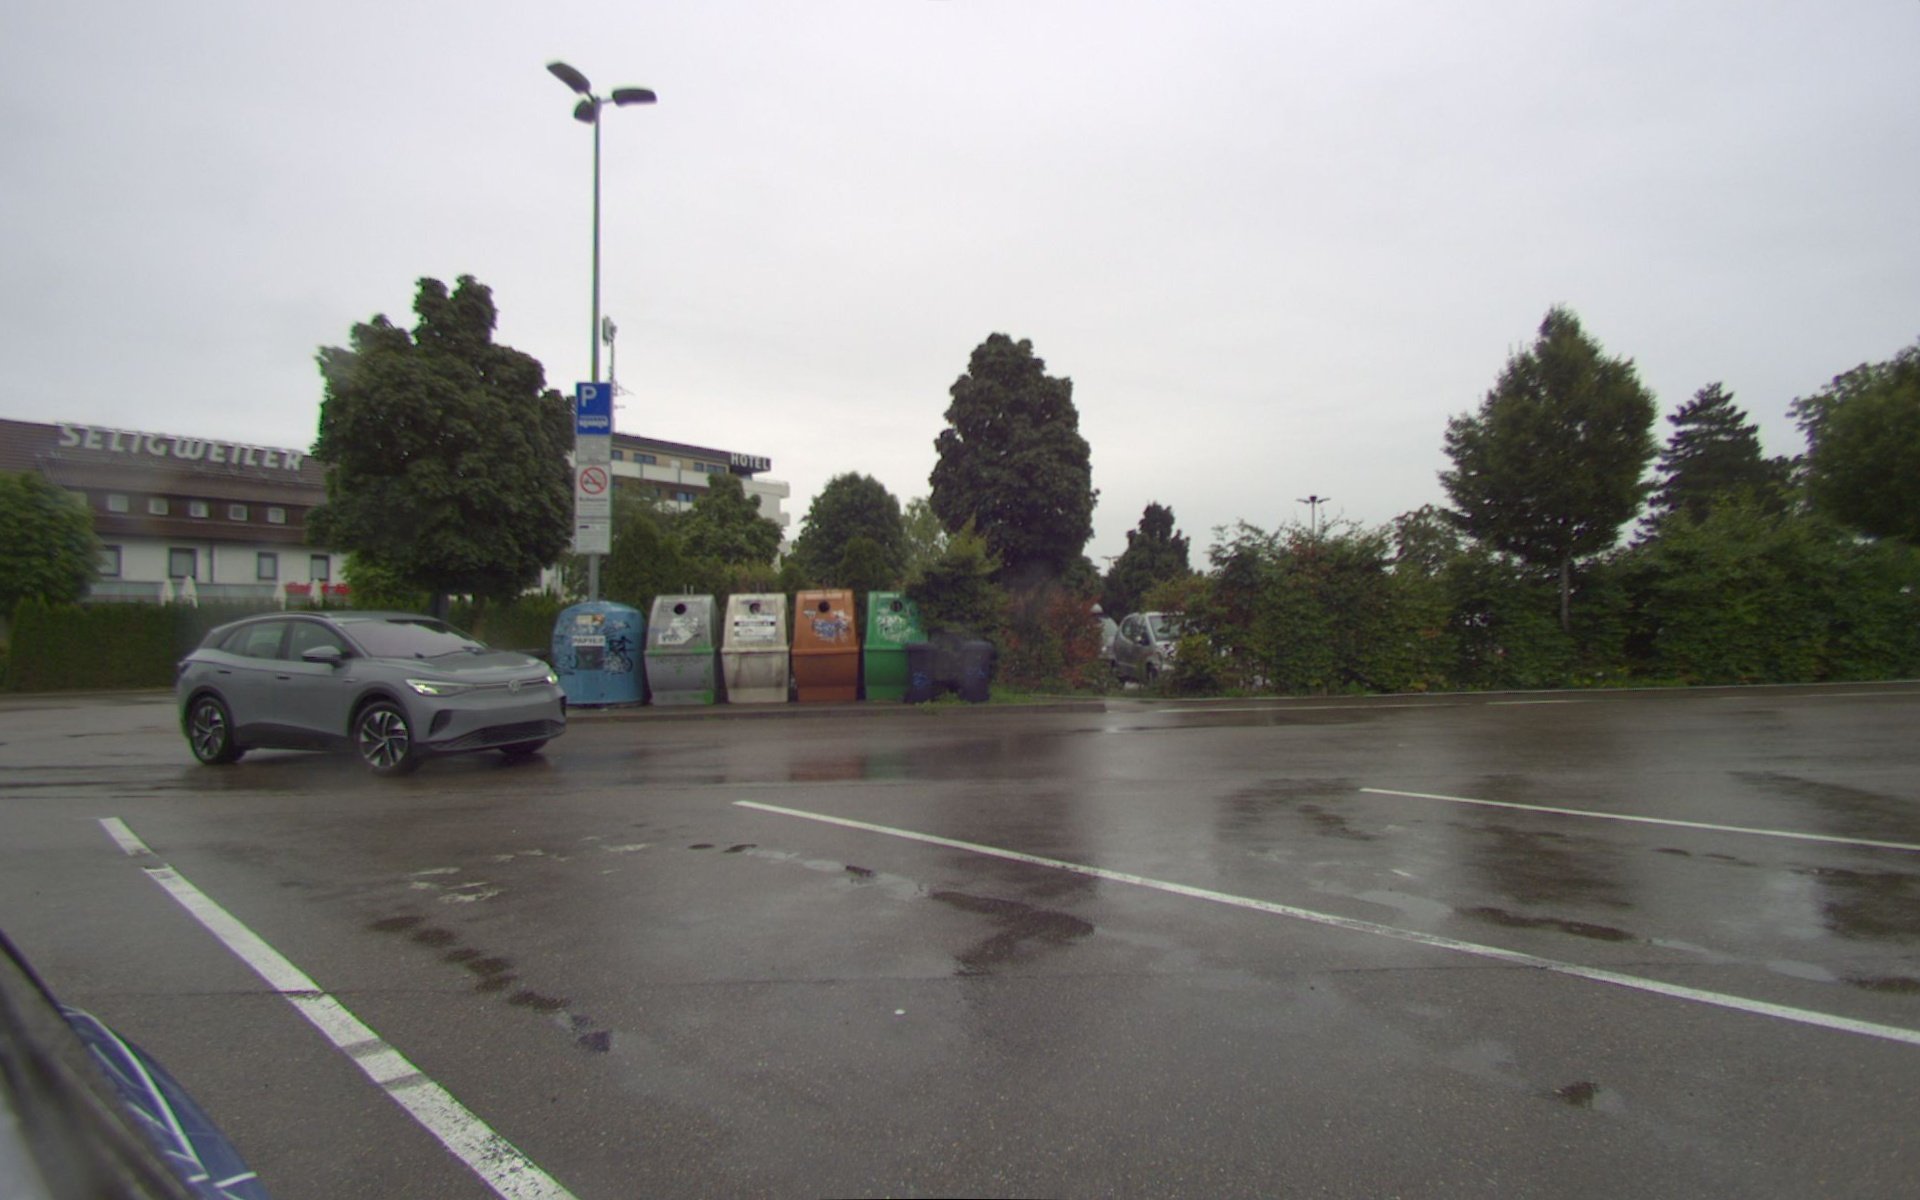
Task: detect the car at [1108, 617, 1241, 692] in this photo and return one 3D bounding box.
[{"bbox_3d":[4.073,1.003,19.770,1.782,1.278,3.647,-1,-1,0],"label":"car"}]

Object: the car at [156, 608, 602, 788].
[{"bbox_3d":[-6.262,0.938,10.872,4.475,1.586,1.983,-2,-1,26],"label":"car"}]

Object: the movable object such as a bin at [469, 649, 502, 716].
[{"bbox_3d":[-7.132,1.226,15.212,0.427,0.956,0.475,-1,-1,-25],"label":"movable object such as a bin"}]

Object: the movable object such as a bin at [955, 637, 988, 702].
[{"bbox_3d":[0.159,1.008,14.740,0.432,0.923,0.509,-2,-2,-1],"label":"movable object such as a bin"}]

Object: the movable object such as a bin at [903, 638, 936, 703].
[{"bbox_3d":[-0.592,1.037,15.008,0.432,0.930,0.508,-2,-2,1],"label":"movable object such as a bin"}]

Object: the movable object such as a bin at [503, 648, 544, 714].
[{"bbox_3d":[-6.564,1.202,15.206,0.450,0.956,0.400,-2,-1,41],"label":"movable object such as a bin"}]
